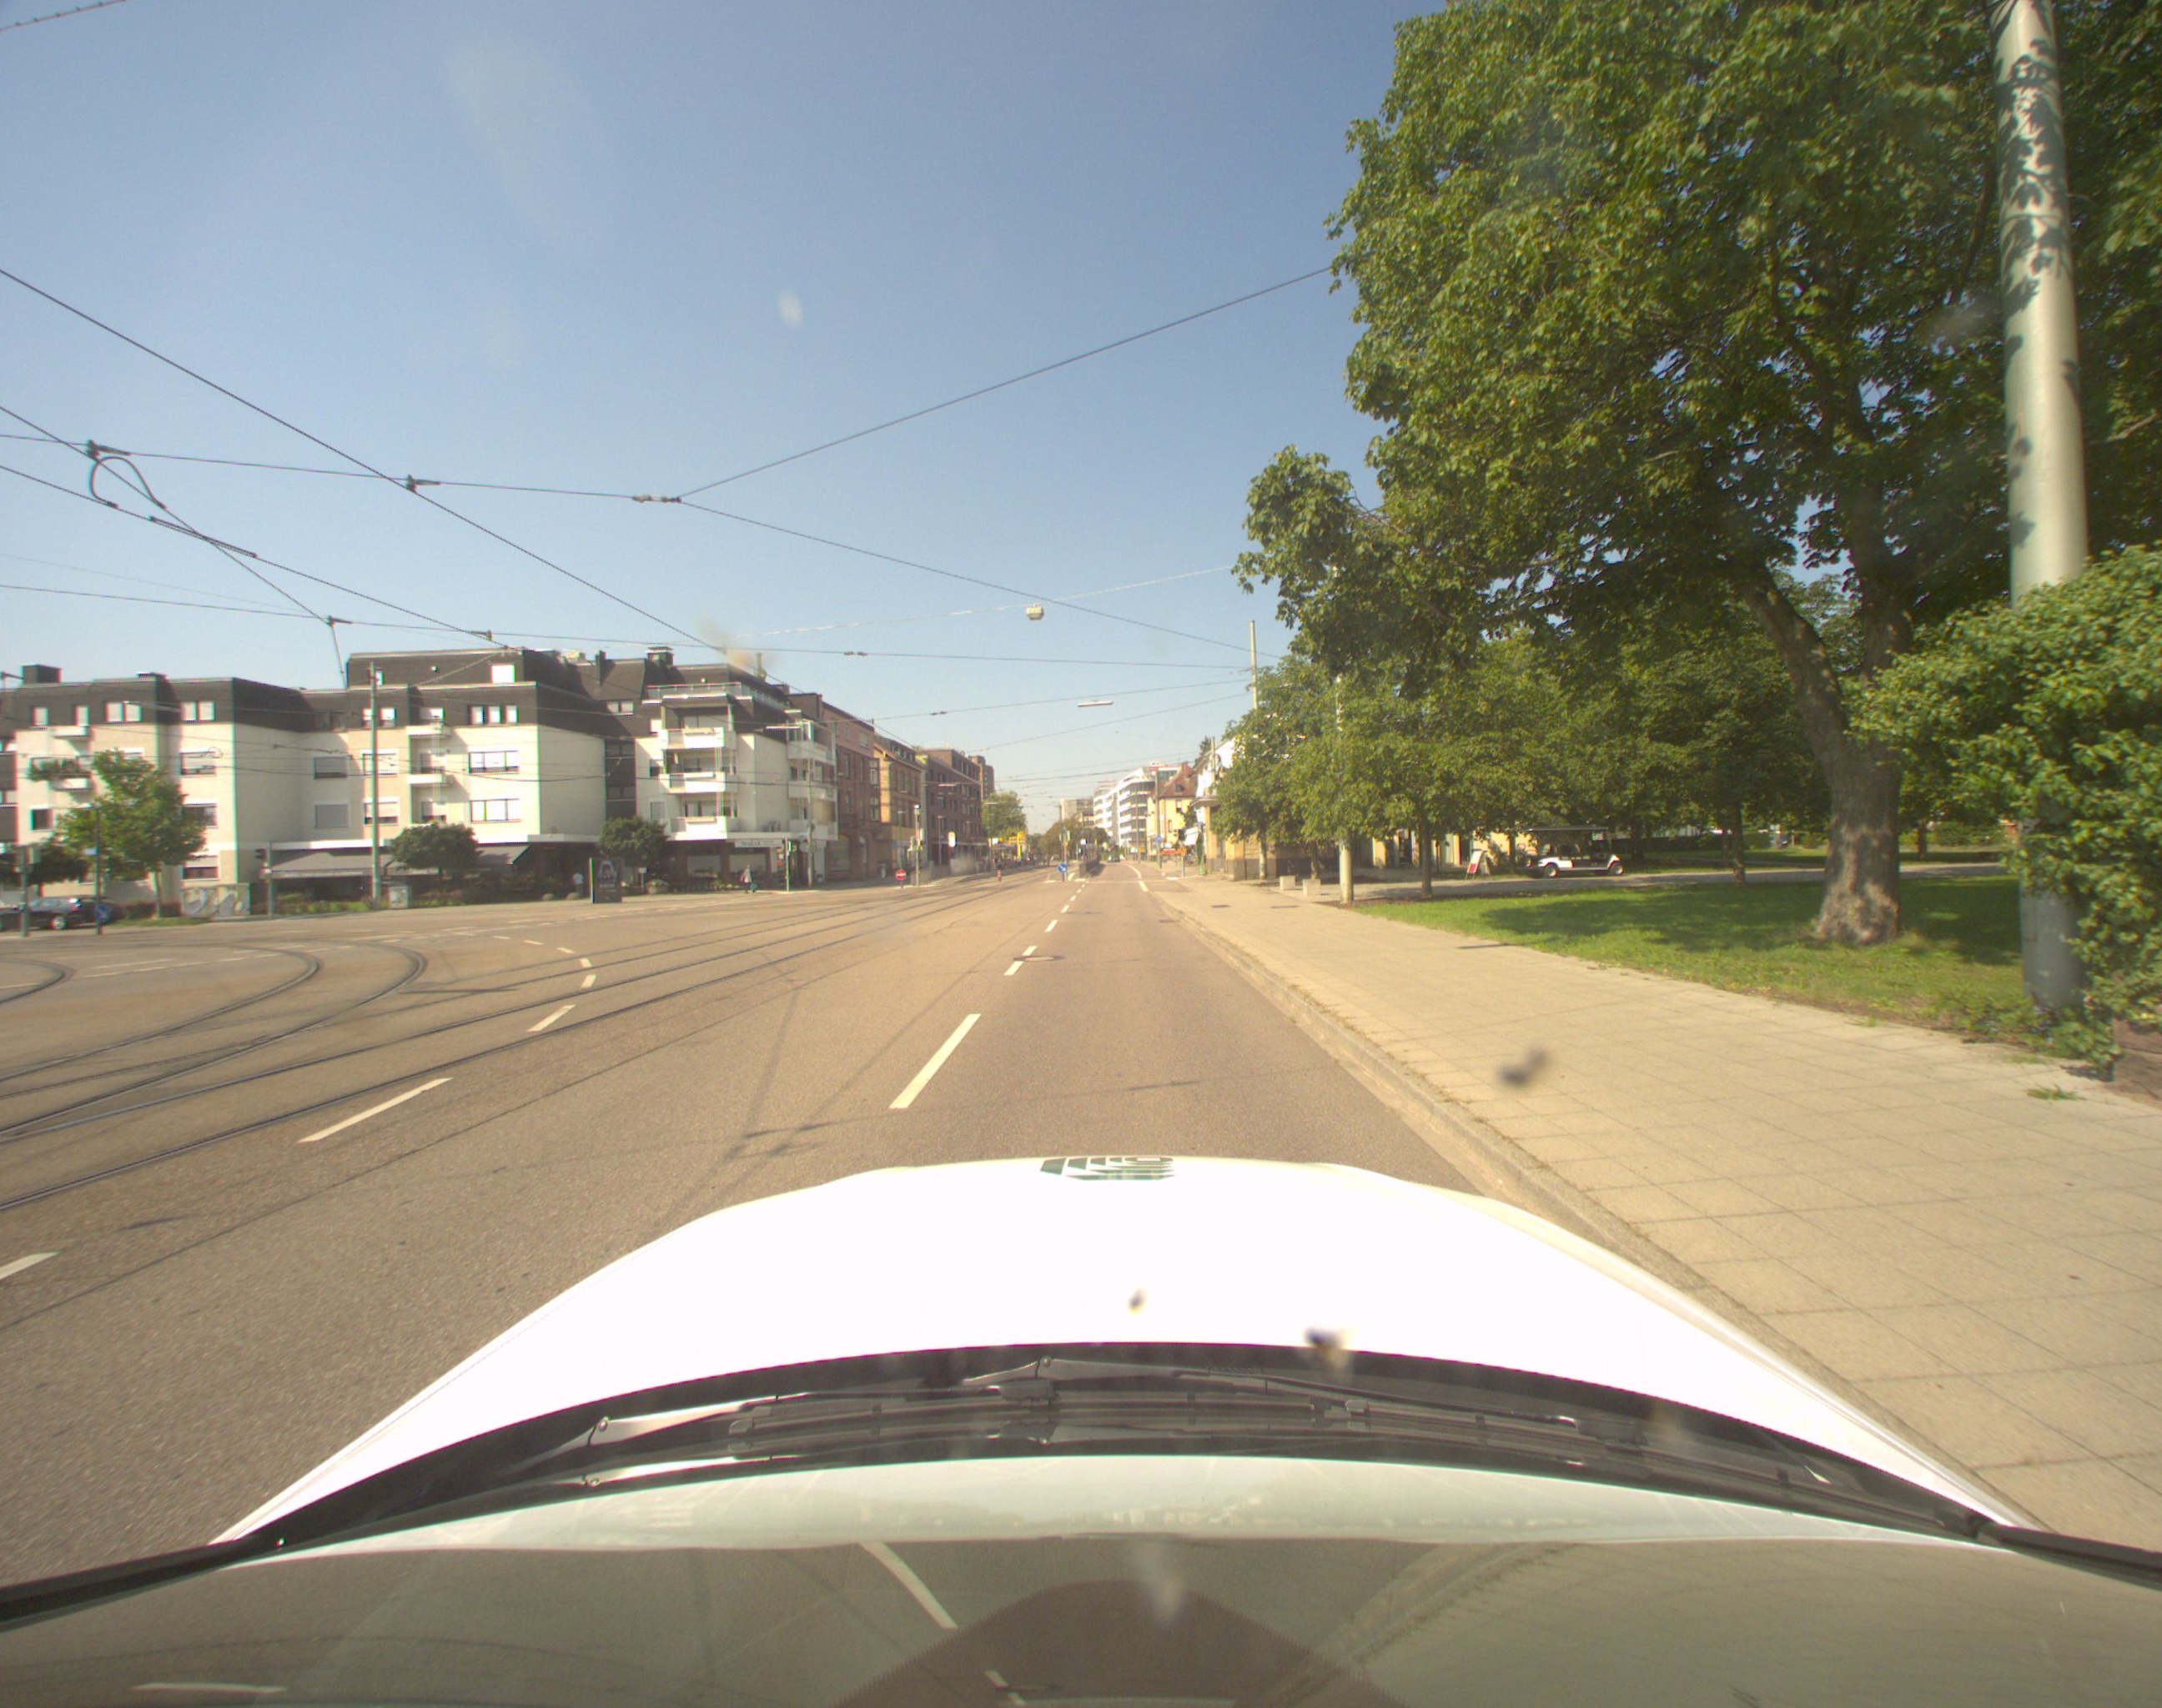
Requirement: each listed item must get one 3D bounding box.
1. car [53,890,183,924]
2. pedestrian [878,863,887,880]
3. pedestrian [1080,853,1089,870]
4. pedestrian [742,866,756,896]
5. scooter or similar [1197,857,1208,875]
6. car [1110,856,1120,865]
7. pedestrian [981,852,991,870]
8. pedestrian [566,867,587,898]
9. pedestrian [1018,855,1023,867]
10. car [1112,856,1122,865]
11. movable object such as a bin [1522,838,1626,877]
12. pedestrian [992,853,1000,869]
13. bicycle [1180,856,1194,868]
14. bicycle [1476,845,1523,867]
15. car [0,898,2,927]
[{"bbox_3d":[-47.178,2.584,39.953,4.094,1.507,1.931,-1,0,1],"label":"car"},{"bbox_3d":[-17.742,1.548,72.809,0.479,1.560,0.890,-1,-1,13],"label":"pedestrian"},{"bbox_3d":[0.351,0.733,83.292,0.717,1.703,0.885,-4,-1,3],"label":"pedestrian"},{"bbox_3d":[-20.280,1.651,49.766,0.602,1.745,0.560,-3,-1,-31],"label":"pedestrian"},{"bbox_3d":[7.617,0.747,51.064,0.521,1.133,1.512,-4,0,3],"label":"scooter or similar"},{"bbox_3d":[7.472,1.363,178.476,2.003,1.859,4.004,-4,0,4],"label":"car"},{"bbox_3d":[-9.498,0.727,81.587,0.705,1.723,0.799,-4,-1,3],"label":"pedestrian"},{"bbox_3d":[-29.603,1.663,47.804,0.676,1.741,0.698,-4,-1,3],"label":"pedestrian"},{"bbox_3d":[-7.729,0.849,104.407,0.531,1.530,0.700,-4,-1,-4],"label":"pedestrian"},{"bbox_3d":[7.673,1.332,172.413,2.003,1.859,4.004,-4,0,4],"label":"car"},{"bbox_3d":[18.418,0.134,30.475,3.096,1.298,1.300,-2,0,-1],"label":"movable object such as a bin"},{"bbox_3d":[-9.224,0.739,88.326,0.705,1.747,0.799,-4,-1,3],"label":"pedestrian"},{"bbox_3d":[10.751,0.852,82.696,0.730,1.132,2.835,-5,0,-5],"label":"bicycle"},{"bbox_3d":[19.042,0.095,37.070,1.897,0.980,0.427,-1,0,1],"label":"bicycle"},{"bbox_3d":[-49.917,2.725,35.249,4.096,1.299,1.673,-4,0,0],"label":"car"}]
